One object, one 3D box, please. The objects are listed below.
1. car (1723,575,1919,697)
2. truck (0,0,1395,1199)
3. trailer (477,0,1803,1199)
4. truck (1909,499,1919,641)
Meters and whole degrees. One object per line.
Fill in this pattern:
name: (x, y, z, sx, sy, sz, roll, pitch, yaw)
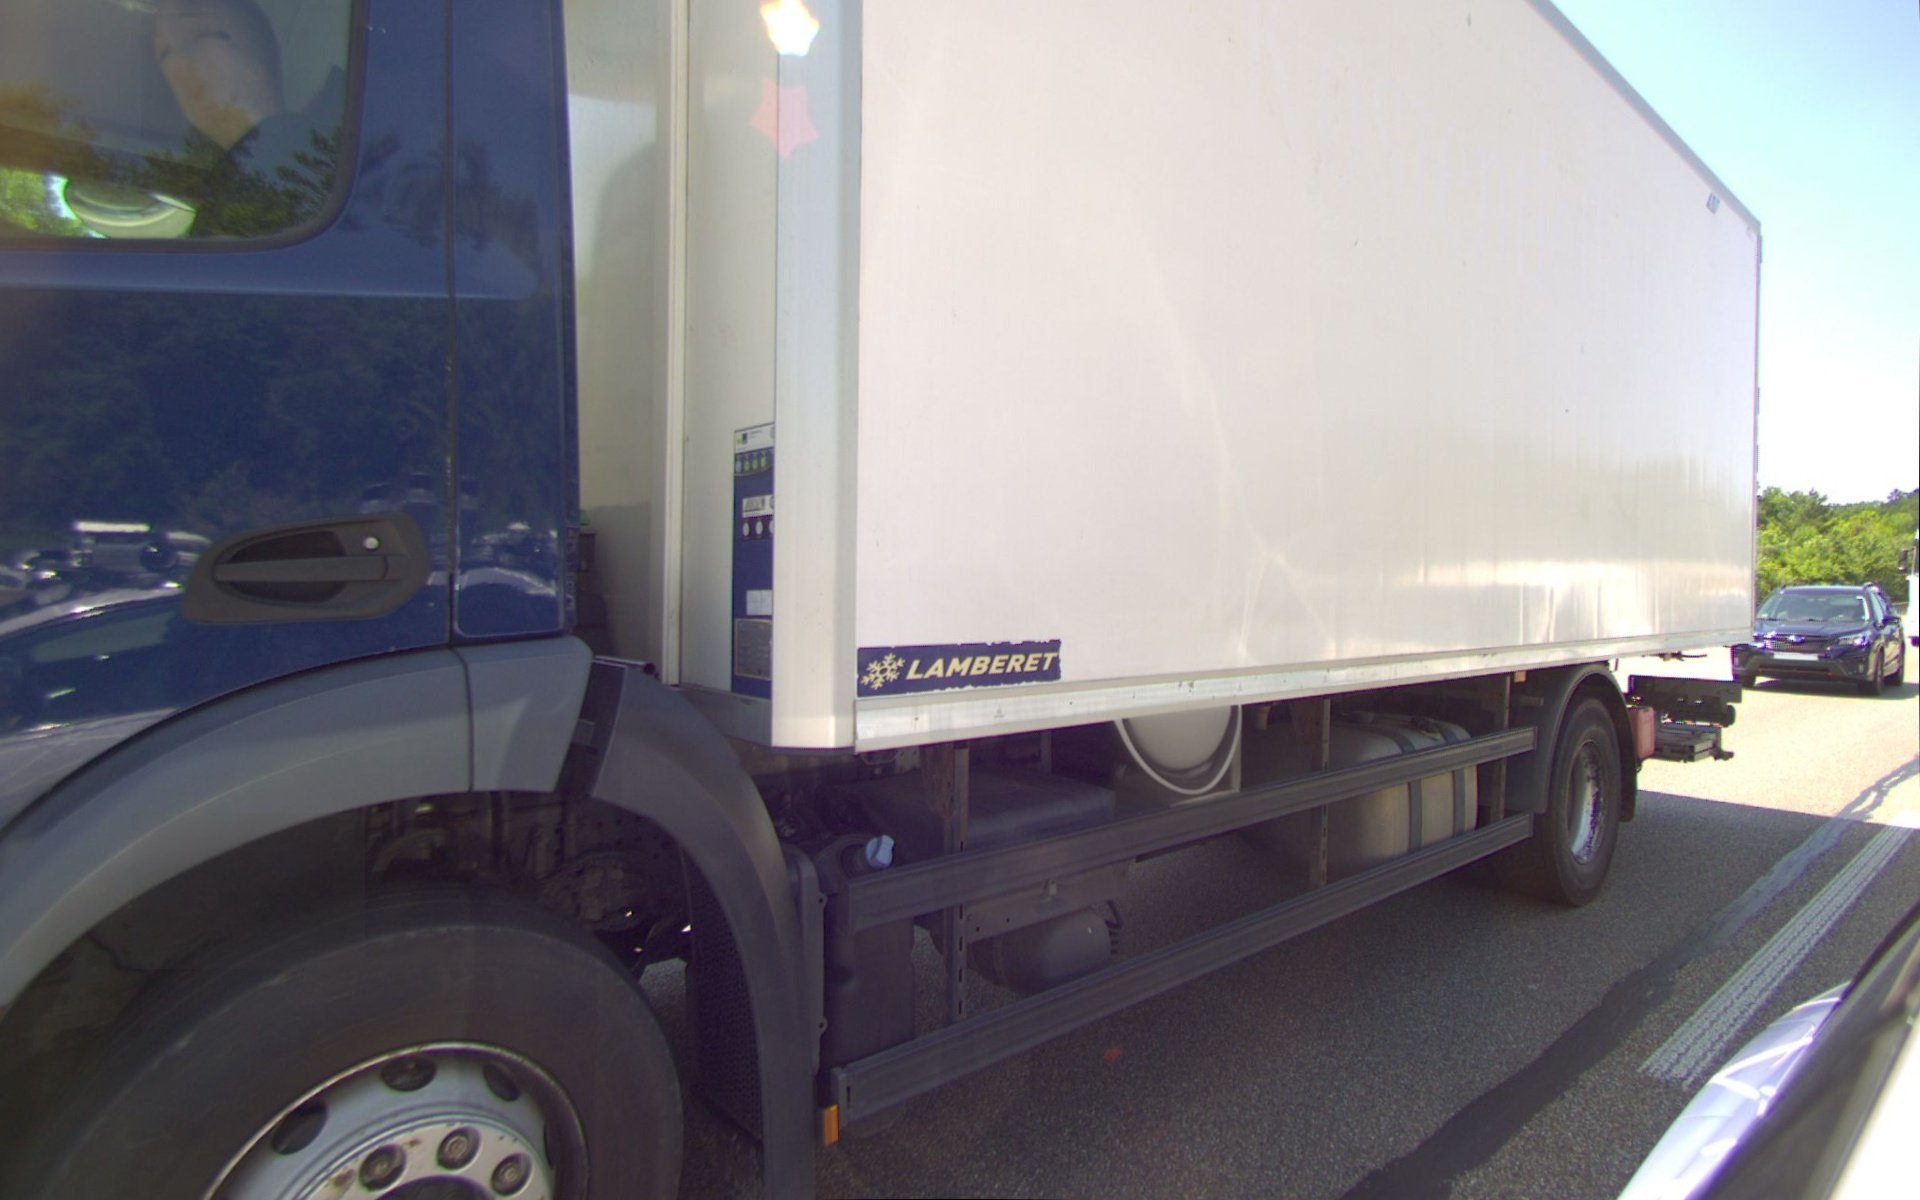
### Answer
car: (14.349, 0.456, 16.747, 4.534, 1.713, 1.996, -1, 2, -43)
truck: (-1.103, -0.108, 2.576, 4.033, 2.977, 2.560, -1, 2, -41)
trailer: (1.973, -0.152, 5.291, 7.744, 2.936, 2.560, 0, 0, -41)
truck: (31.478, -0.927, 30.951, 7.205, 4.135, 2.765, -1, 1, -40)
